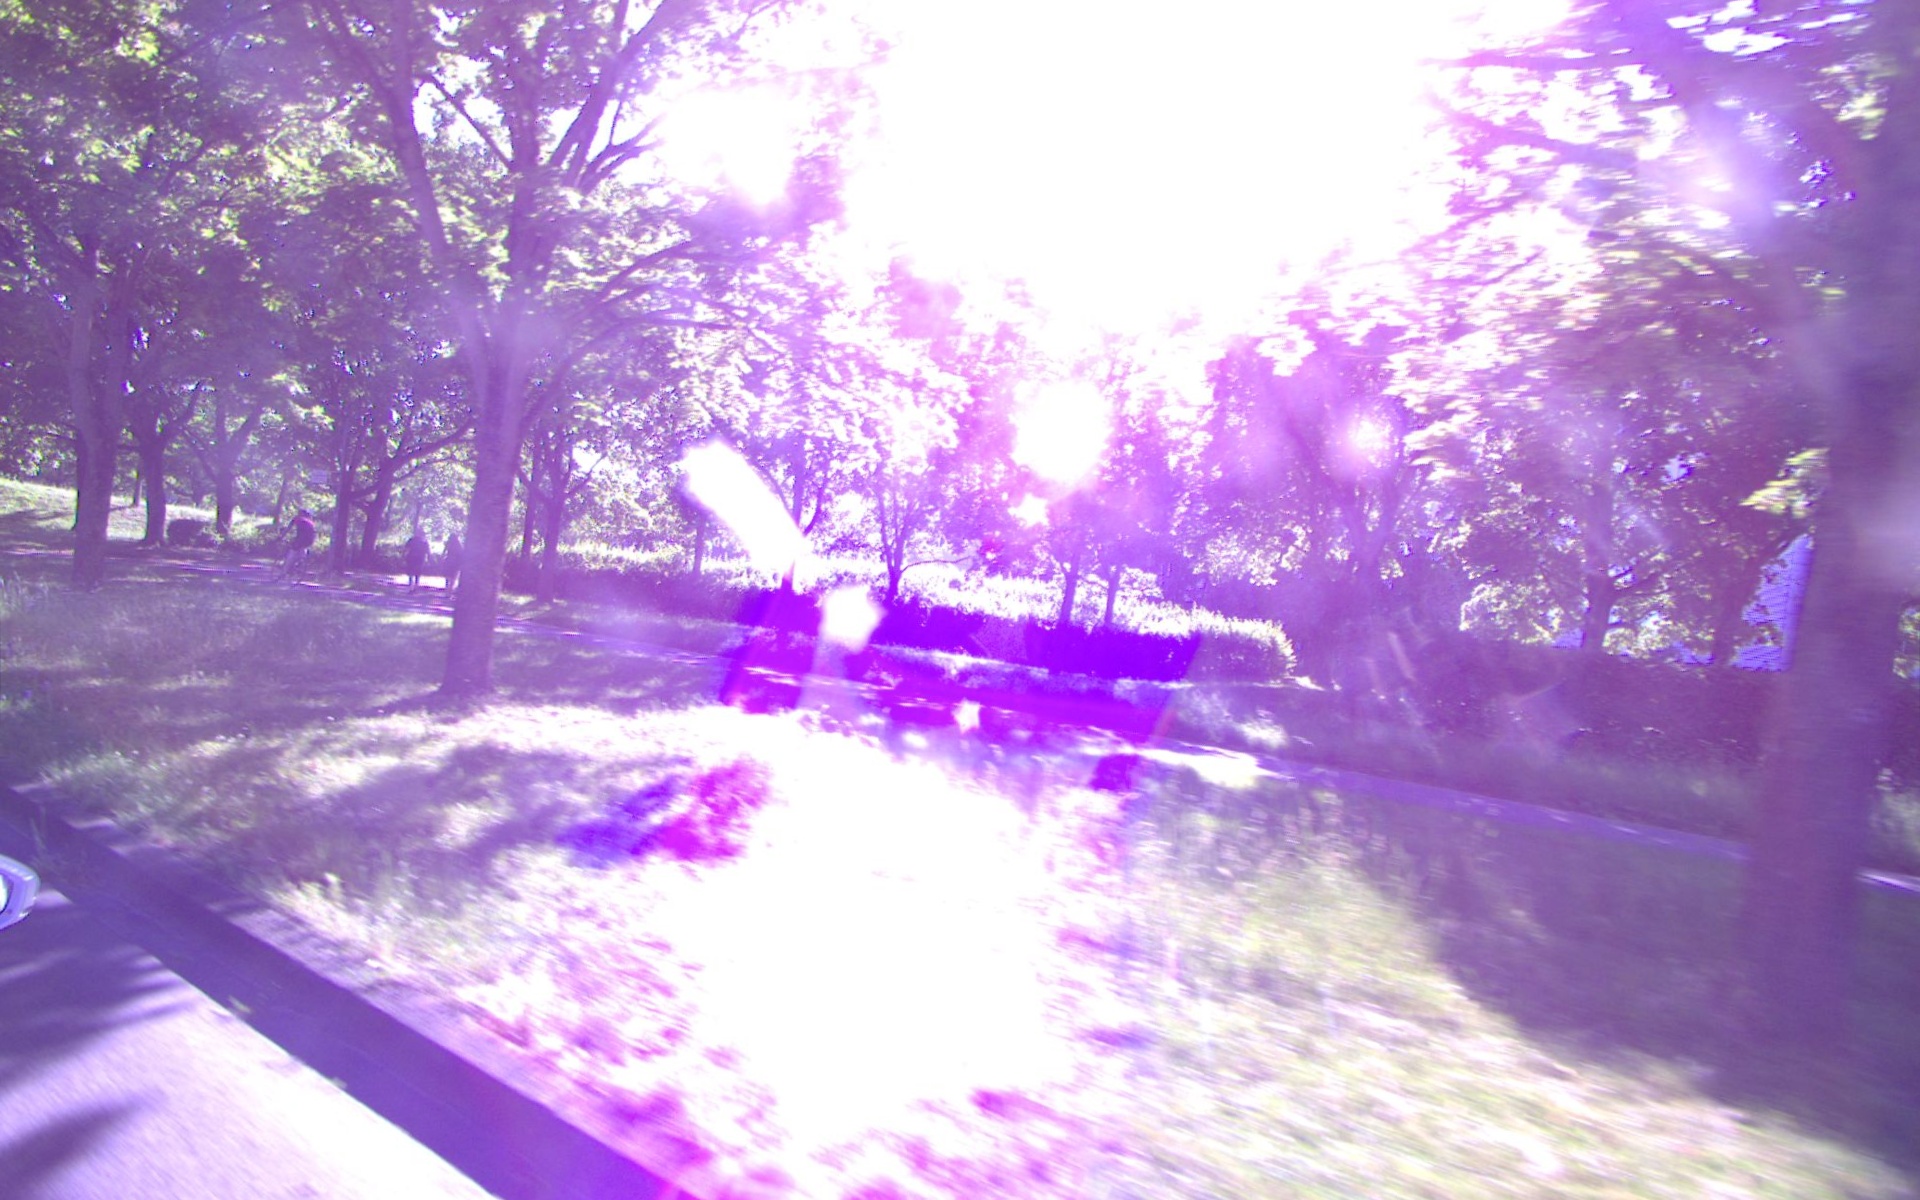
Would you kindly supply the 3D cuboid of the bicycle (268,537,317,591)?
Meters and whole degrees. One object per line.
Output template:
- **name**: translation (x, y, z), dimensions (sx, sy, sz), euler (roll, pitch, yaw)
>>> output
- **bicycle**: translation (-15.134, -0.832, 22.818), dimensions (0.789, 1.060, 2.123), euler (7, 0, -34)

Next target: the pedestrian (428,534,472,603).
- **pedestrian**: translation (-13.432, -0.837, 26.478), dimensions (0.833, 1.712, 0.635), euler (7, 0, 44)

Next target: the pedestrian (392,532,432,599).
- **pedestrian**: translation (-14.225, -0.894, 26.115), dimensions (0.833, 1.642, 0.545), euler (7, 0, 44)

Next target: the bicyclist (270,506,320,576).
- **bicyclist**: translation (-15.050, -1.327, 22.772), dimensions (0.784, 1.468, 0.837), euler (7, 0, -34)
